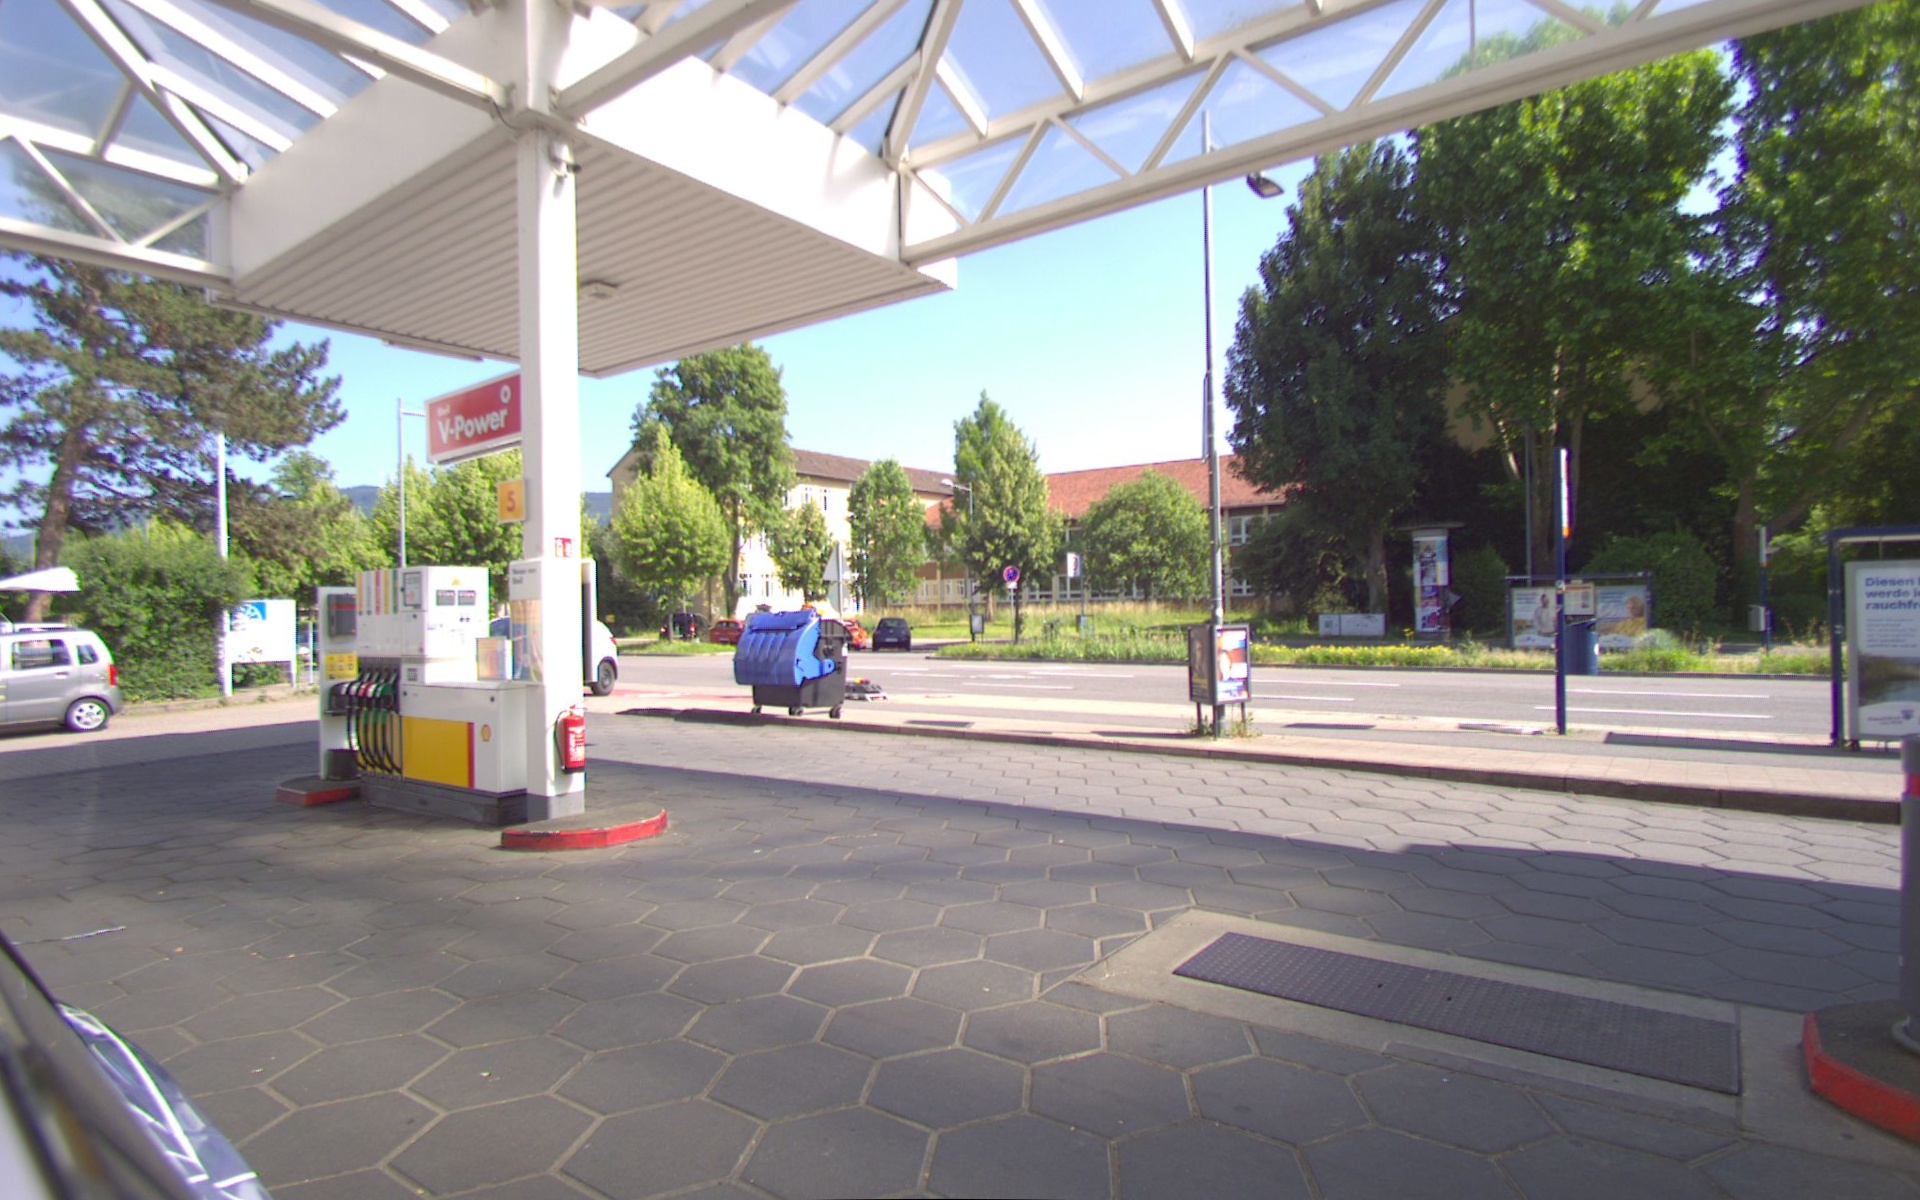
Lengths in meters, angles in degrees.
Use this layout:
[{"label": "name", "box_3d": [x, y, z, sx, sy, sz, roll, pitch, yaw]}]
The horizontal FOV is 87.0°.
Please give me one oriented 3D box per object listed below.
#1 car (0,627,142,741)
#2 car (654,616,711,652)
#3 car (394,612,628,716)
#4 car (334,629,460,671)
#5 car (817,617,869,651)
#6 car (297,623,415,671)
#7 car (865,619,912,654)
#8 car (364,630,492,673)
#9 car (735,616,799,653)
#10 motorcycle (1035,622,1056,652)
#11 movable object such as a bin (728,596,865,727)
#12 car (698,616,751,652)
[{"label": "car", "box_3d": [-15.176, 1.329, 15.662, 1.690, 1.629, 3.615, -2, 0, 38]}, {"label": "car", "box_3d": [-13.953, 1.717, 51.173, 1.854, 1.735, 4.227, 0, -2, -2]}, {"label": "car", "box_3d": [-8.348, 1.121, 19.300, 1.941, 1.719, 4.291, -2, -1, 12]}, {"label": "car", "box_3d": [-20.873, 1.833, 37.725, 1.861, 1.493, 4.212, -1, -2, 10]}, {"label": "car", "box_3d": [-5.287, 1.546, 46.204, 1.855, 1.471, 4.224, 0, -2, 1]}, {"label": "car", "box_3d": [-23.105, 1.754, 38.923, 1.683, 1.733, 4.397, -1, -2, 5]}, {"label": "car", "box_3d": [-3.088, 1.620, 44.585, 1.718, 1.471, 4.224, -1, -2, 1]}, {"label": "car", "box_3d": [-18.770, 1.804, 35.945, 1.861, 1.428, 4.212, -1, -2, 10]}, {"label": "car", "box_3d": [-9.350, 1.682, 49.384, 1.859, 1.735, 4.215, 0, -2, 8]}, {"label": "motorcycle", "box_3d": [3.361, 1.429, 39.560, 0.552, 1.122, 1.751, -1, -1, 13]}, {"label": "movable object such as a bin", "box_3d": [-2.266, 0.831, 14.093, 1.335, 1.701, 1.325, -2, -3, 38]}, {"label": "car", "box_3d": [-11.828, 1.726, 51.031, 1.854, 1.735, 4.227, 0, -2, -2]}]
